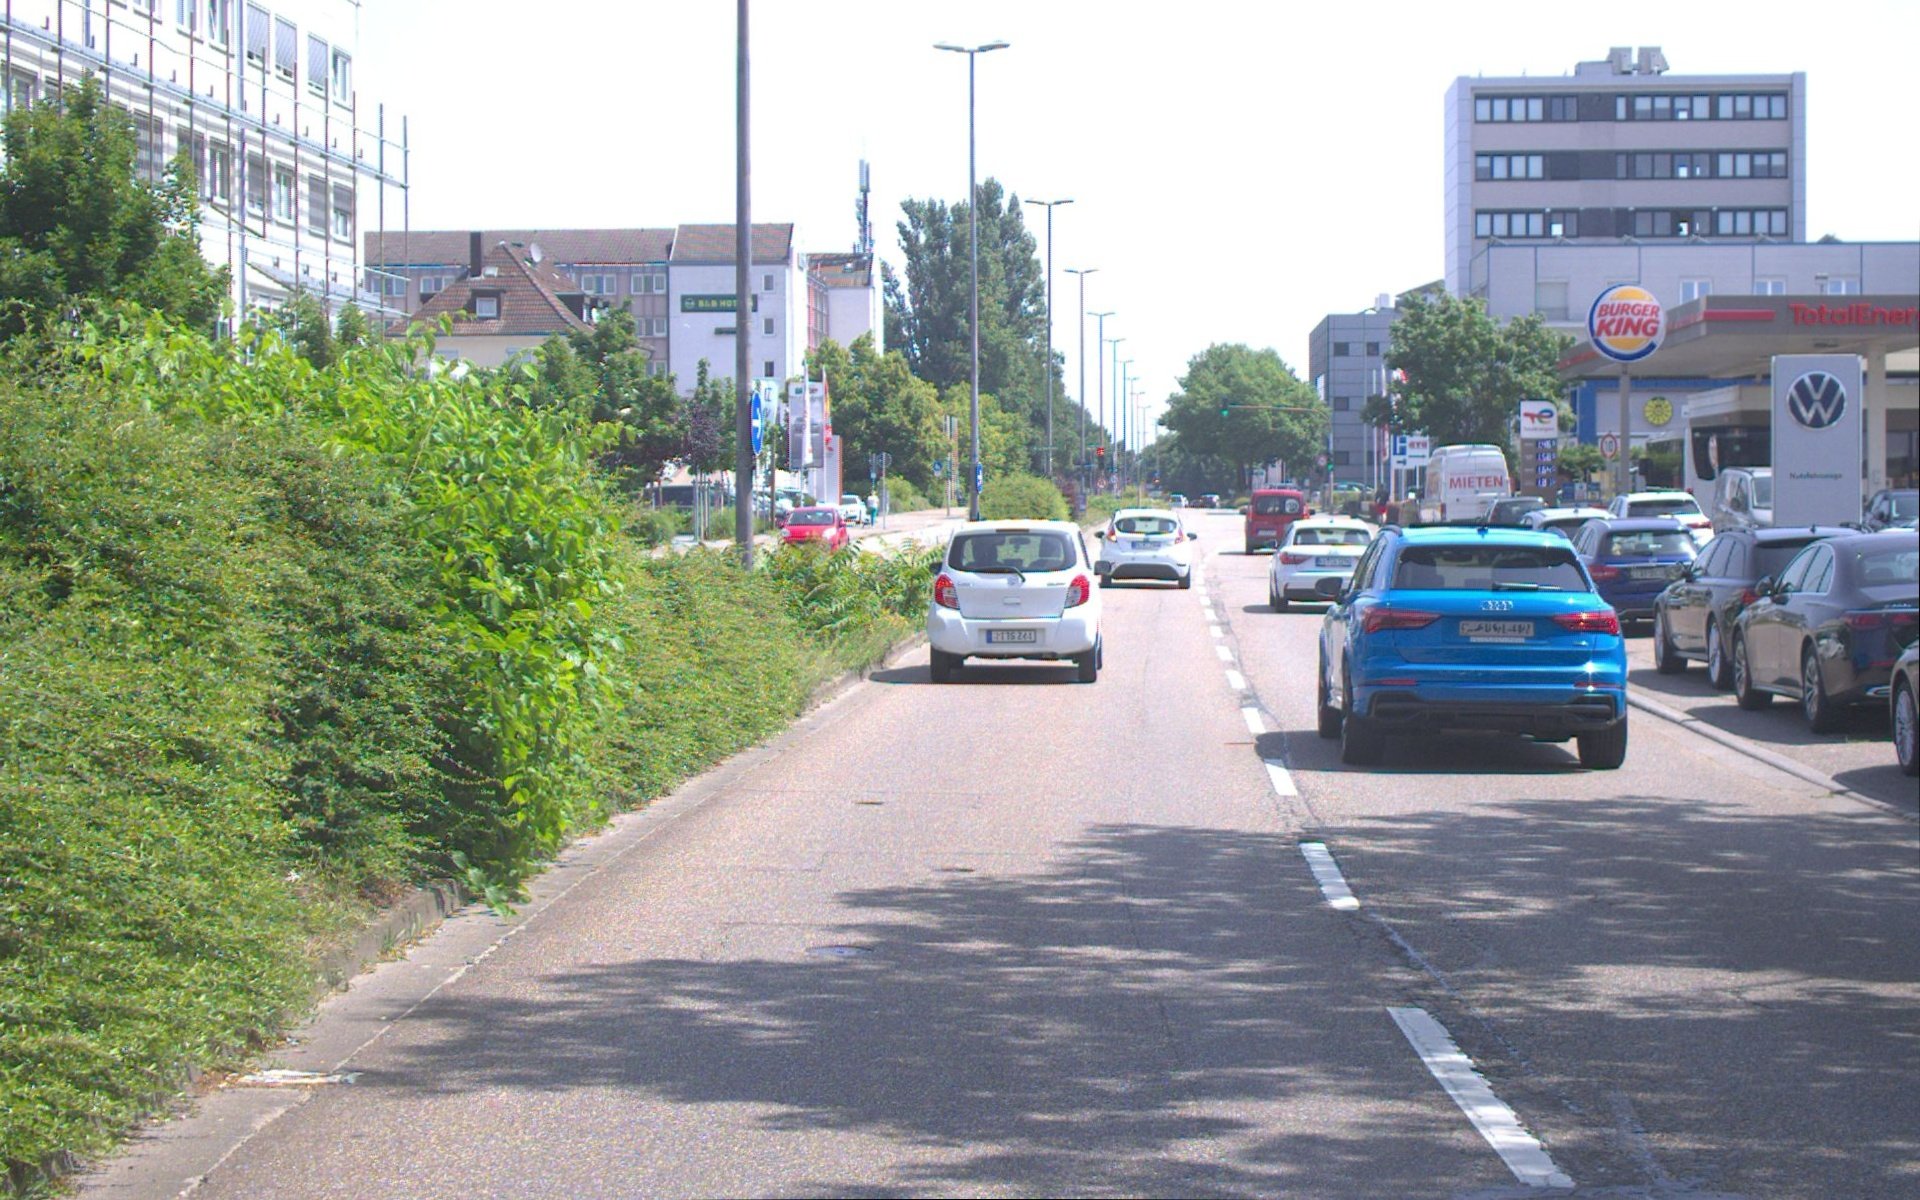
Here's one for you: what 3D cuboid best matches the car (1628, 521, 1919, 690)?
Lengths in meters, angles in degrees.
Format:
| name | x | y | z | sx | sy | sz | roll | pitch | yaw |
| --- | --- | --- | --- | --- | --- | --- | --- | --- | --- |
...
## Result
| name | x | y | z | sx | sy | sz | roll | pitch | yaw |
| --- | --- | --- | --- | --- | --- | --- | --- | --- | --- |
| car | 7.833 | -0.011 | 32.984 | 1.854 | 1.476 | 5.157 | 0 | 2 | 0 |

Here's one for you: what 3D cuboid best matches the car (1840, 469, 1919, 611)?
| name | x | y | z | sx | sy | sz | roll | pitch | yaw |
| --- | --- | --- | --- | --- | --- | --- | --- | --- | --- |
| car | 14.520 | -0.864 | 46.854 | 4.556 | 1.882 | 1.857 | -2 | 0 | 2 |

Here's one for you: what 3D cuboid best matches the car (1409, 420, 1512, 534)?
| name | x | y | z | sx | sy | sz | roll | pitch | yaw |
| --- | --- | --- | --- | --- | --- | --- | --- | --- | --- |
| car | 13.728 | -3.394 | 94.662 | 2.133 | 2.829 | 7.308 | -5 | 2 | 5 |

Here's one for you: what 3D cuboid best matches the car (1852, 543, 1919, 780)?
| name | x | y | z | sx | sy | sz | roll | pitch | yaw |
| --- | --- | --- | --- | --- | --- | --- | --- | --- | --- |
| car | 6.657 | 0.379 | 20.327 | 1.682 | 1.430 | 4.439 | -1 | 1 | 1 |

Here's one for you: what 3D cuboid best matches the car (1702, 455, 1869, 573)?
| name | x | y | z | sx | sy | sz | roll | pitch | yaw |
| --- | --- | --- | --- | --- | --- | --- | --- | --- | --- |
| car | 14.994 | -1.572 | 62.713 | 1.994 | 2.016 | 5.160 | 1 | 2 | 3 |

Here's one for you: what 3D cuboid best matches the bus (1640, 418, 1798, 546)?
| name | x | y | z | sx | sy | sz | roll | pitch | yaw |
| --- | --- | --- | --- | --- | --- | --- | --- | --- | --- |
| bus | 19.506 | -3.156 | 89.028 | 2.805 | 3.068 | 12.283 | 1 | 3 | 7 |

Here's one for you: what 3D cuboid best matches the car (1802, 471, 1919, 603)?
| name | x | y | z | sx | sy | sz | roll | pitch | yaw |
| --- | --- | --- | --- | --- | --- | --- | --- | --- | --- |
| car | 14.695 | -0.945 | 50.090 | 4.413 | 1.876 | 1.909 | -1 | 2 | 3 |

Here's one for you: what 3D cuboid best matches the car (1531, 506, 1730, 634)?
| name | x | y | z | sx | sy | sz | roll | pitch | yaw |
| --- | --- | --- | --- | --- | --- | --- | --- | --- | --- |
| car | 8.566 | -0.420 | 44.302 | 1.713 | 1.543 | 4.791 | -1 | 1 | 1 |

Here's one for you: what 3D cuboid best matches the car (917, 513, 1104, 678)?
| name | x | y | z | sx | sy | sz | roll | pitch | yaw |
| --- | --- | --- | --- | --- | --- | --- | --- | --- | --- |
| car | 0.489 | -0.042 | 33.654 | 1.712 | 1.505 | 3.247 | 1 | 0 | 1 |

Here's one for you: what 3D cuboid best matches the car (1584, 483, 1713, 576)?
| name | x | y | z | sx | sy | sz | roll | pitch | yaw |
| --- | --- | --- | --- | --- | --- | --- | --- | --- | --- |
| car | 12.559 | -1.318 | 62.946 | 1.667 | 1.590 | 4.613 | -1 | 2 | 3 |

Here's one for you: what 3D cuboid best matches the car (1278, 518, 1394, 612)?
| name | x | y | z | sx | sy | sz | roll | pitch | yaw |
| --- | --- | --- | --- | --- | --- | --- | --- | --- | --- |
| car | 5.803 | -0.545 | 53.322 | 1.667 | 1.394 | 3.792 | 1 | 1 | 5 |

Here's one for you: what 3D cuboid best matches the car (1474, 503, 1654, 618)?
| name | x | y | z | sx | sy | sz | roll | pitch | yaw |
| --- | --- | --- | --- | --- | --- | --- | --- | --- | --- |
| car | 8.678 | -0.606 | 49.679 | 1.732 | 1.547 | 4.181 | 0 | 2 | -2 |

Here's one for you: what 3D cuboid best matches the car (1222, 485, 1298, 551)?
| name | x | y | z | sx | sy | sz | roll | pitch | yaw |
| --- | --- | --- | --- | --- | --- | --- | --- | --- | --- |
| car | 8.237 | -2.229 | 94.631 | 1.795 | 1.723 | 3.972 | 1 | 1 | 2 |

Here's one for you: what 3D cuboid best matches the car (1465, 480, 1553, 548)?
| name | x | y | z | sx | sy | sz | roll | pitch | yaw |
| --- | --- | --- | --- | --- | --- | --- | --- | --- | --- |
| car | 12.944 | -2.051 | 81.247 | 1.657 | 1.514 | 3.819 | -1 | 2 | 4 |

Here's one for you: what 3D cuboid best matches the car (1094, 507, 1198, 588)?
| name | x | y | z | sx | sy | sz | roll | pitch | yaw |
| --- | --- | --- | --- | --- | --- | --- | --- | --- | --- |
| car | 3.481 | -0.988 | 64.939 | 1.830 | 1.445 | 4.000 | 1 | 1 | 2 |

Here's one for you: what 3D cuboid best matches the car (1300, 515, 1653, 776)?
| name | x | y | z | sx | sy | sz | roll | pitch | yaw |
| --- | --- | --- | --- | --- | --- | --- | --- | --- | --- |
| car | 3.464 | 0.246 | 23.827 | 1.913 | 1.591 | 4.395 | 2 | 1 | 2 |

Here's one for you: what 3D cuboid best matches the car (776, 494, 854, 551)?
| name | x | y | z | sx | sy | sz | roll | pitch | yaw |
| --- | --- | --- | --- | --- | --- | --- | --- | --- | --- |
| car | -3.840 | -2.059 | 91.514 | 1.631 | 1.419 | 3.450 | -2 | 1 | 5 |

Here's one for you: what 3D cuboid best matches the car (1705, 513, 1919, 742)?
| name | x | y | z | sx | sy | sz | roll | pitch | yaw |
| --- | --- | --- | --- | --- | --- | --- | --- | --- | --- |
| car | 7.282 | 0.131 | 27.006 | 1.961 | 1.524 | 5.161 | -2 | 2 | 3 |
